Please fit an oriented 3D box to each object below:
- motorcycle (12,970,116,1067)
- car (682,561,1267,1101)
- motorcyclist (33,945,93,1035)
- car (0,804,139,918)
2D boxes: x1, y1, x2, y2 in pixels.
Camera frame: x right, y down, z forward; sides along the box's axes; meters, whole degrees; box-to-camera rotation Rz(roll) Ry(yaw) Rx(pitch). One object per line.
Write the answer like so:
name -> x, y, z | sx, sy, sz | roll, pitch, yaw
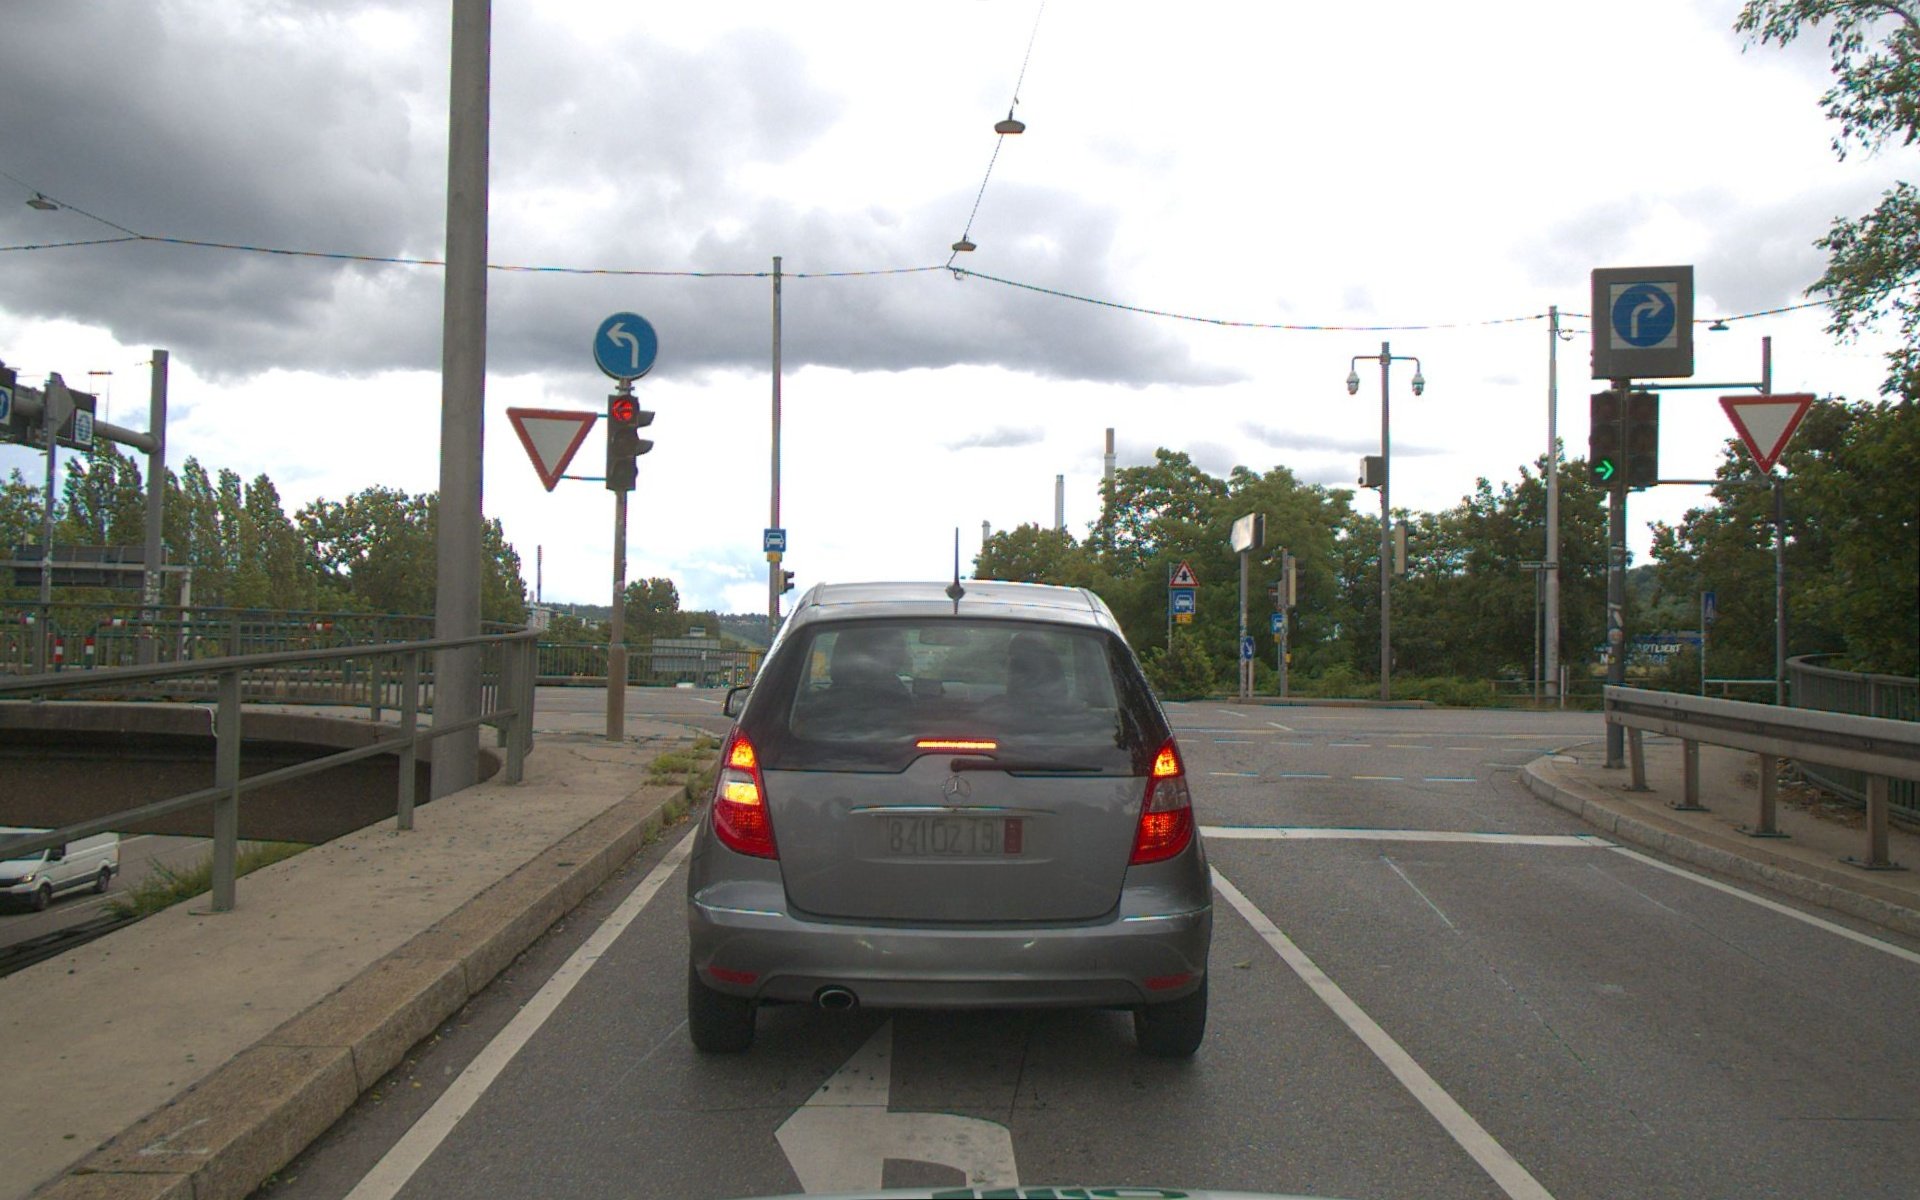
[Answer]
motorcycle -> -15.492, 7.217, 28.652 | 0.581, 1.224, 2.126 | 1, -2, 1
car -> 0.027, 0.690, 6.659 | 1.704, 1.570, 3.540 | 1, 0, -1
motorcyclist -> -15.490, 6.729, 28.576 | 0.581, 1.396, 0.762 | 1, -3, 0
car -> -26.629, 7.548, 48.454 | 2.122, 2.640, 6.100 | -1, -3, -1
